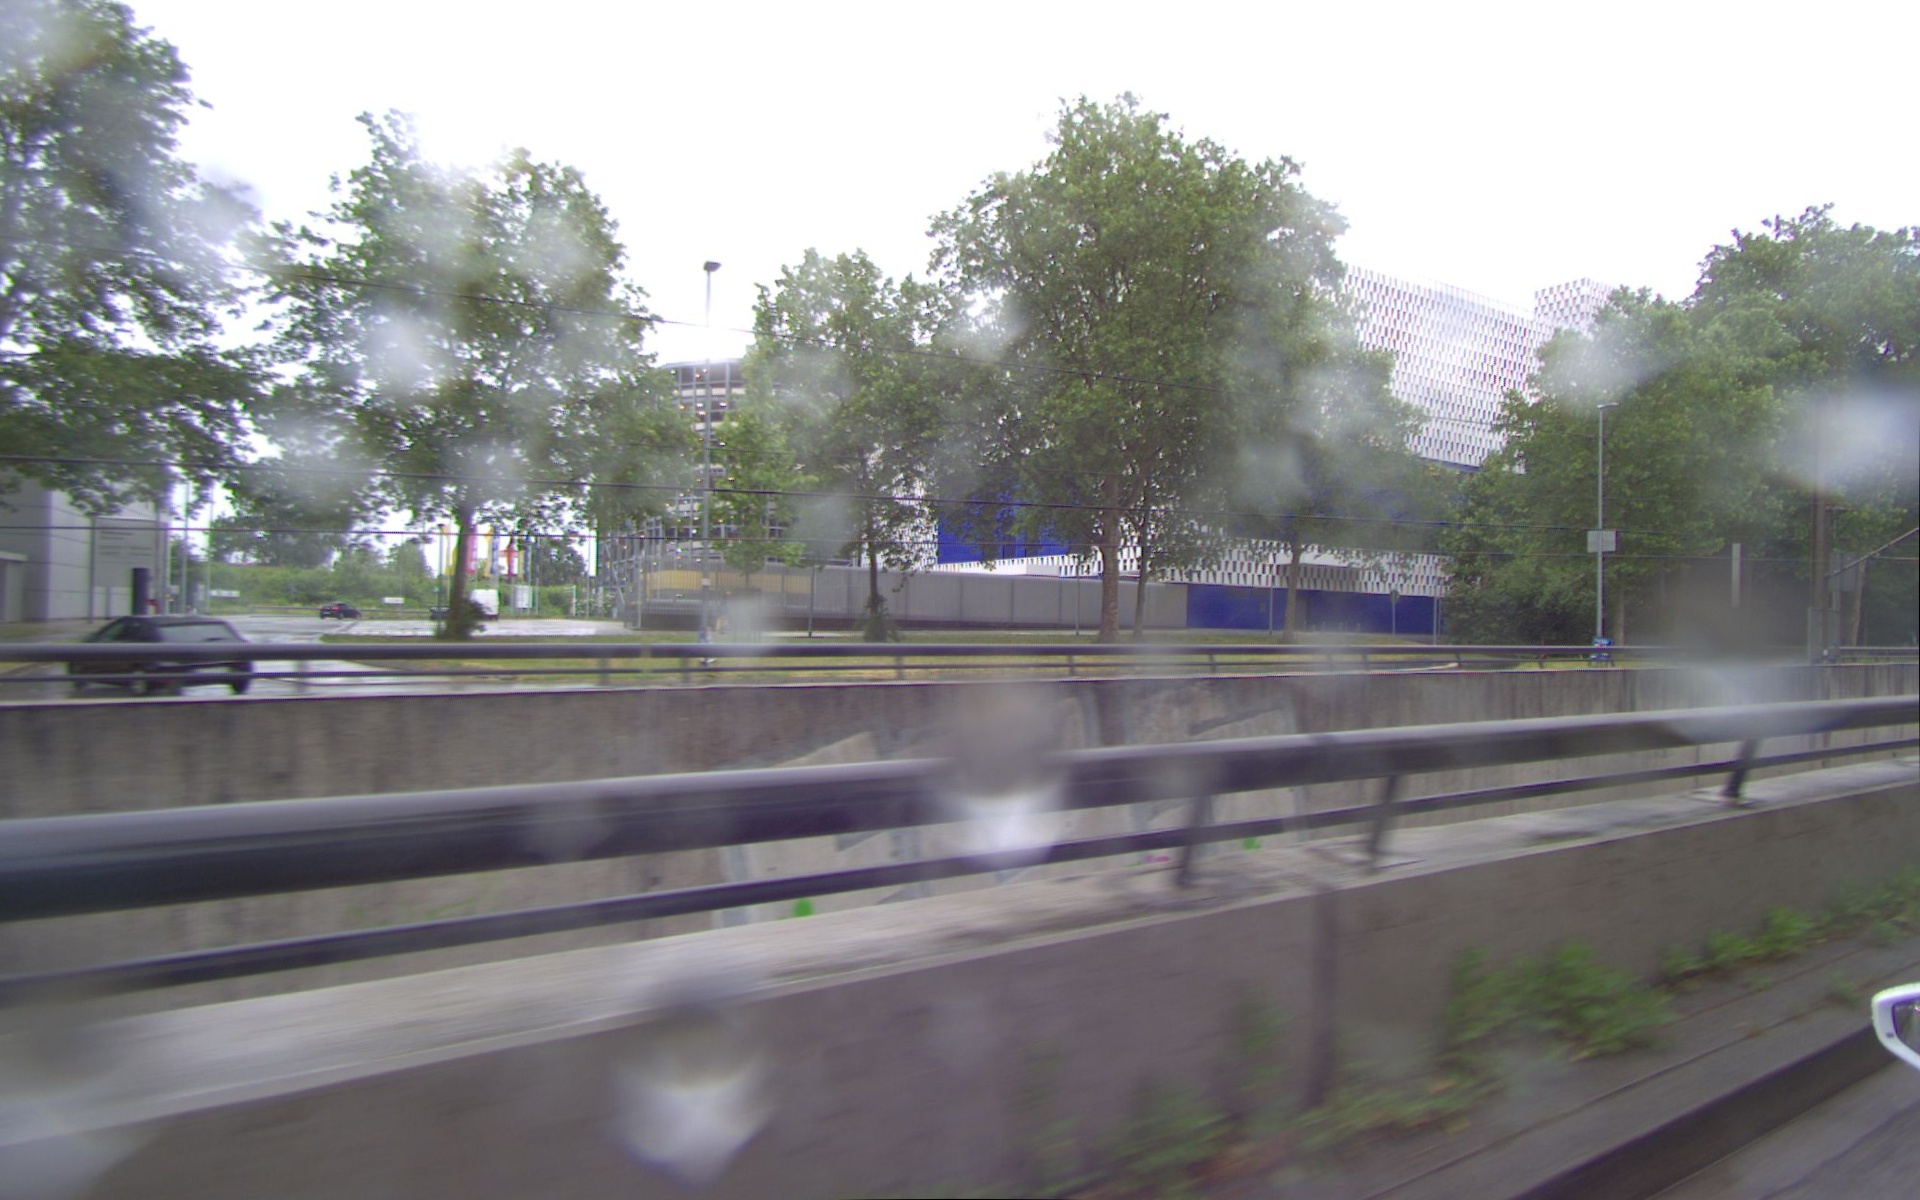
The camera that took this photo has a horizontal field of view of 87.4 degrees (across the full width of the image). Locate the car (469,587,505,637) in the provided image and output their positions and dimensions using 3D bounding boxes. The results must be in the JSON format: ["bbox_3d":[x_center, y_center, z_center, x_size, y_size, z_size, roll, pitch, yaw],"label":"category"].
[{"bbox_3d":[-40.835,1.043,86.652,2.188,4.160,5.310,1,0,-31],"label":"car"}]

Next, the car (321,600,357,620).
[{"bbox_3d":[-54.000,0.882,87.439,1.971,1.639,3.979,1,-1,-22],"label":"car"}]

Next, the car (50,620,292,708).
[{"bbox_3d":[-14.723,1.126,18.781,3.721,1.422,1.999,1,0,23],"label":"car"}]

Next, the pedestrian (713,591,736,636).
[{"bbox_3d":[-10.906,0.633,46.510,0.780,2.040,0.997,1,1,-28],"label":"pedestrian"}]

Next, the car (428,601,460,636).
[{"bbox_3d":[-44.067,1.580,85.831,2.183,2.863,3.976,1,0,-24],"label":"car"}]
